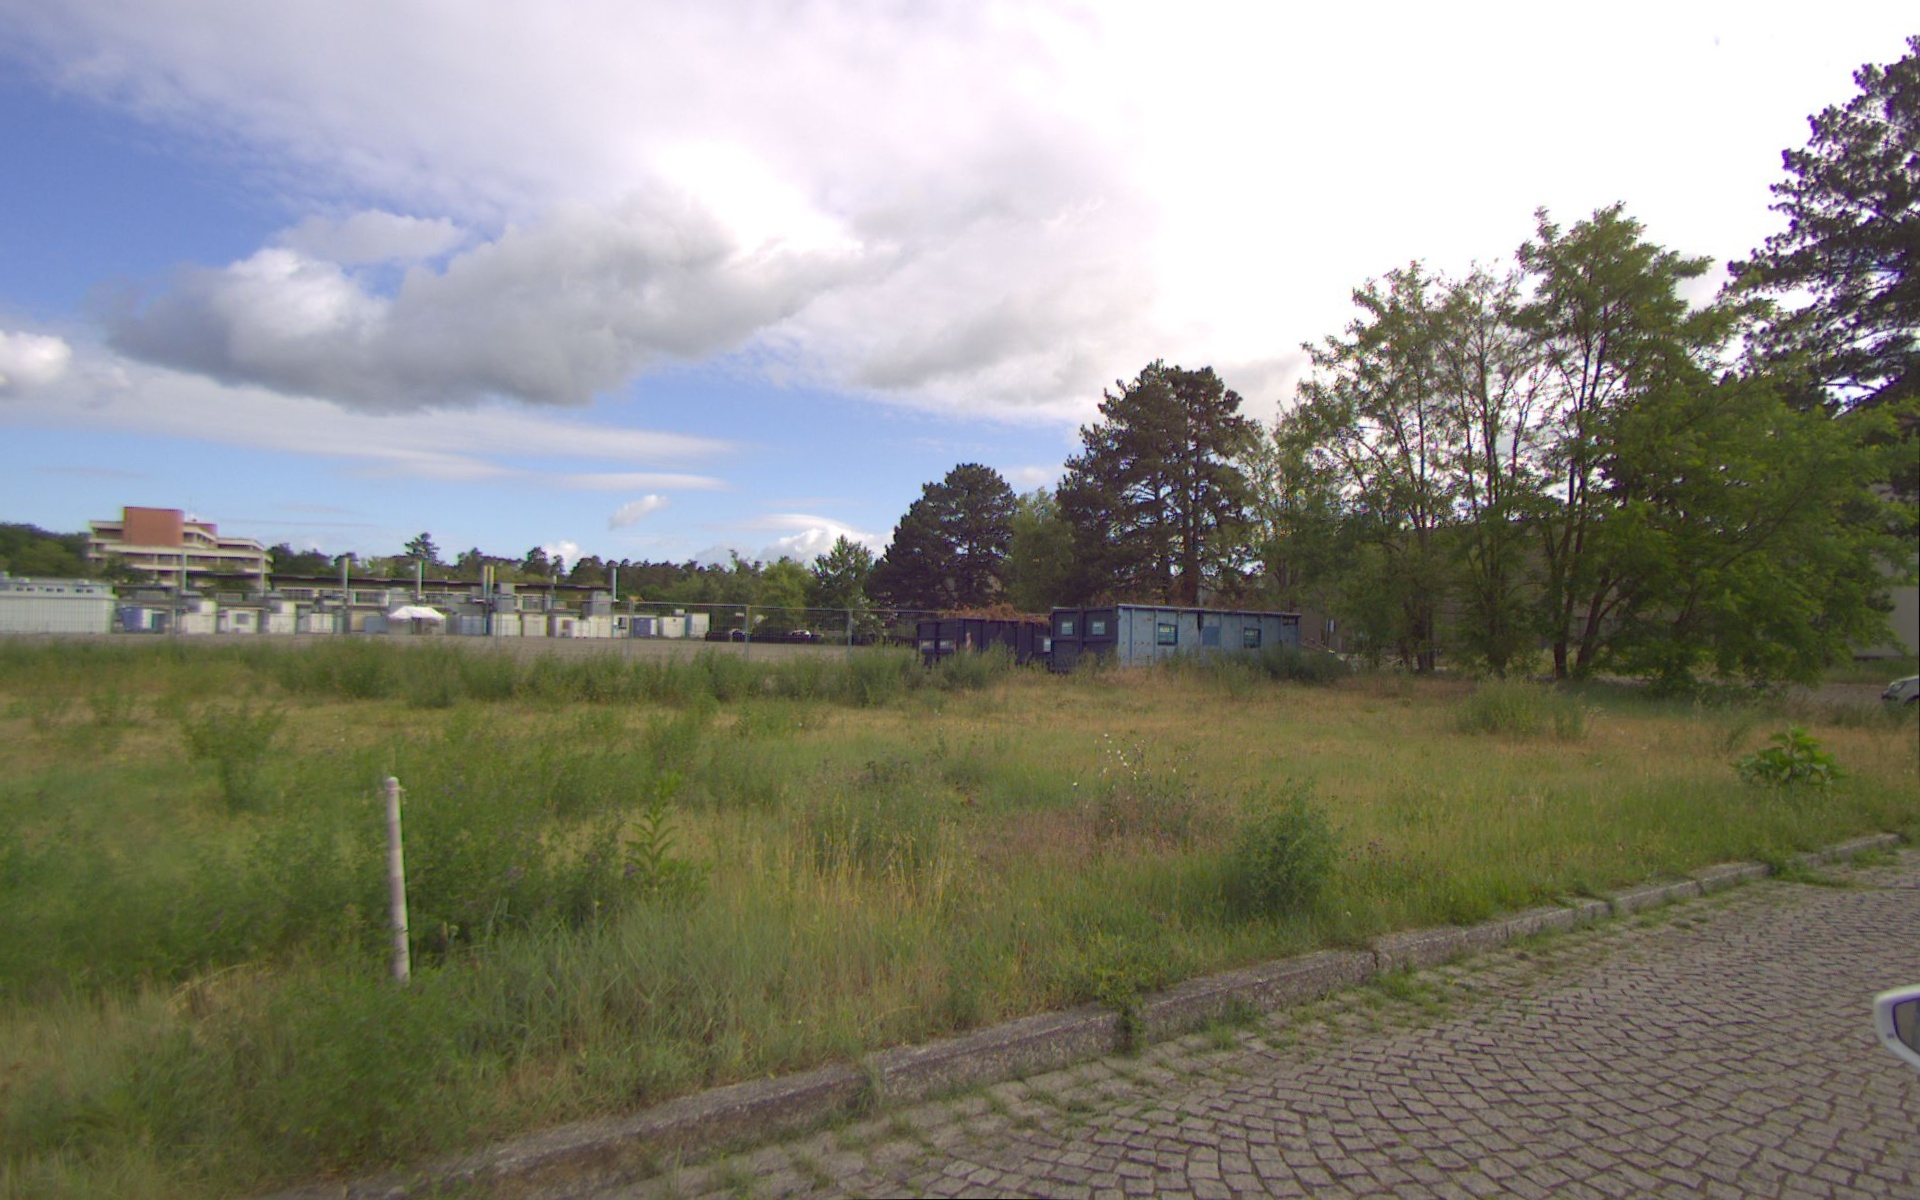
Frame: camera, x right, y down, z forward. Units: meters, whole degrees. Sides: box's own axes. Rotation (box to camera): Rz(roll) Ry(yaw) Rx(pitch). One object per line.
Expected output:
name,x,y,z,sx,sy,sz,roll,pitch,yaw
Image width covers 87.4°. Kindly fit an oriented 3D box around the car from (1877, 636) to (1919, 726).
car,17.727,1.453,16.464,1.566,1.499,3.680,2,1,-33
